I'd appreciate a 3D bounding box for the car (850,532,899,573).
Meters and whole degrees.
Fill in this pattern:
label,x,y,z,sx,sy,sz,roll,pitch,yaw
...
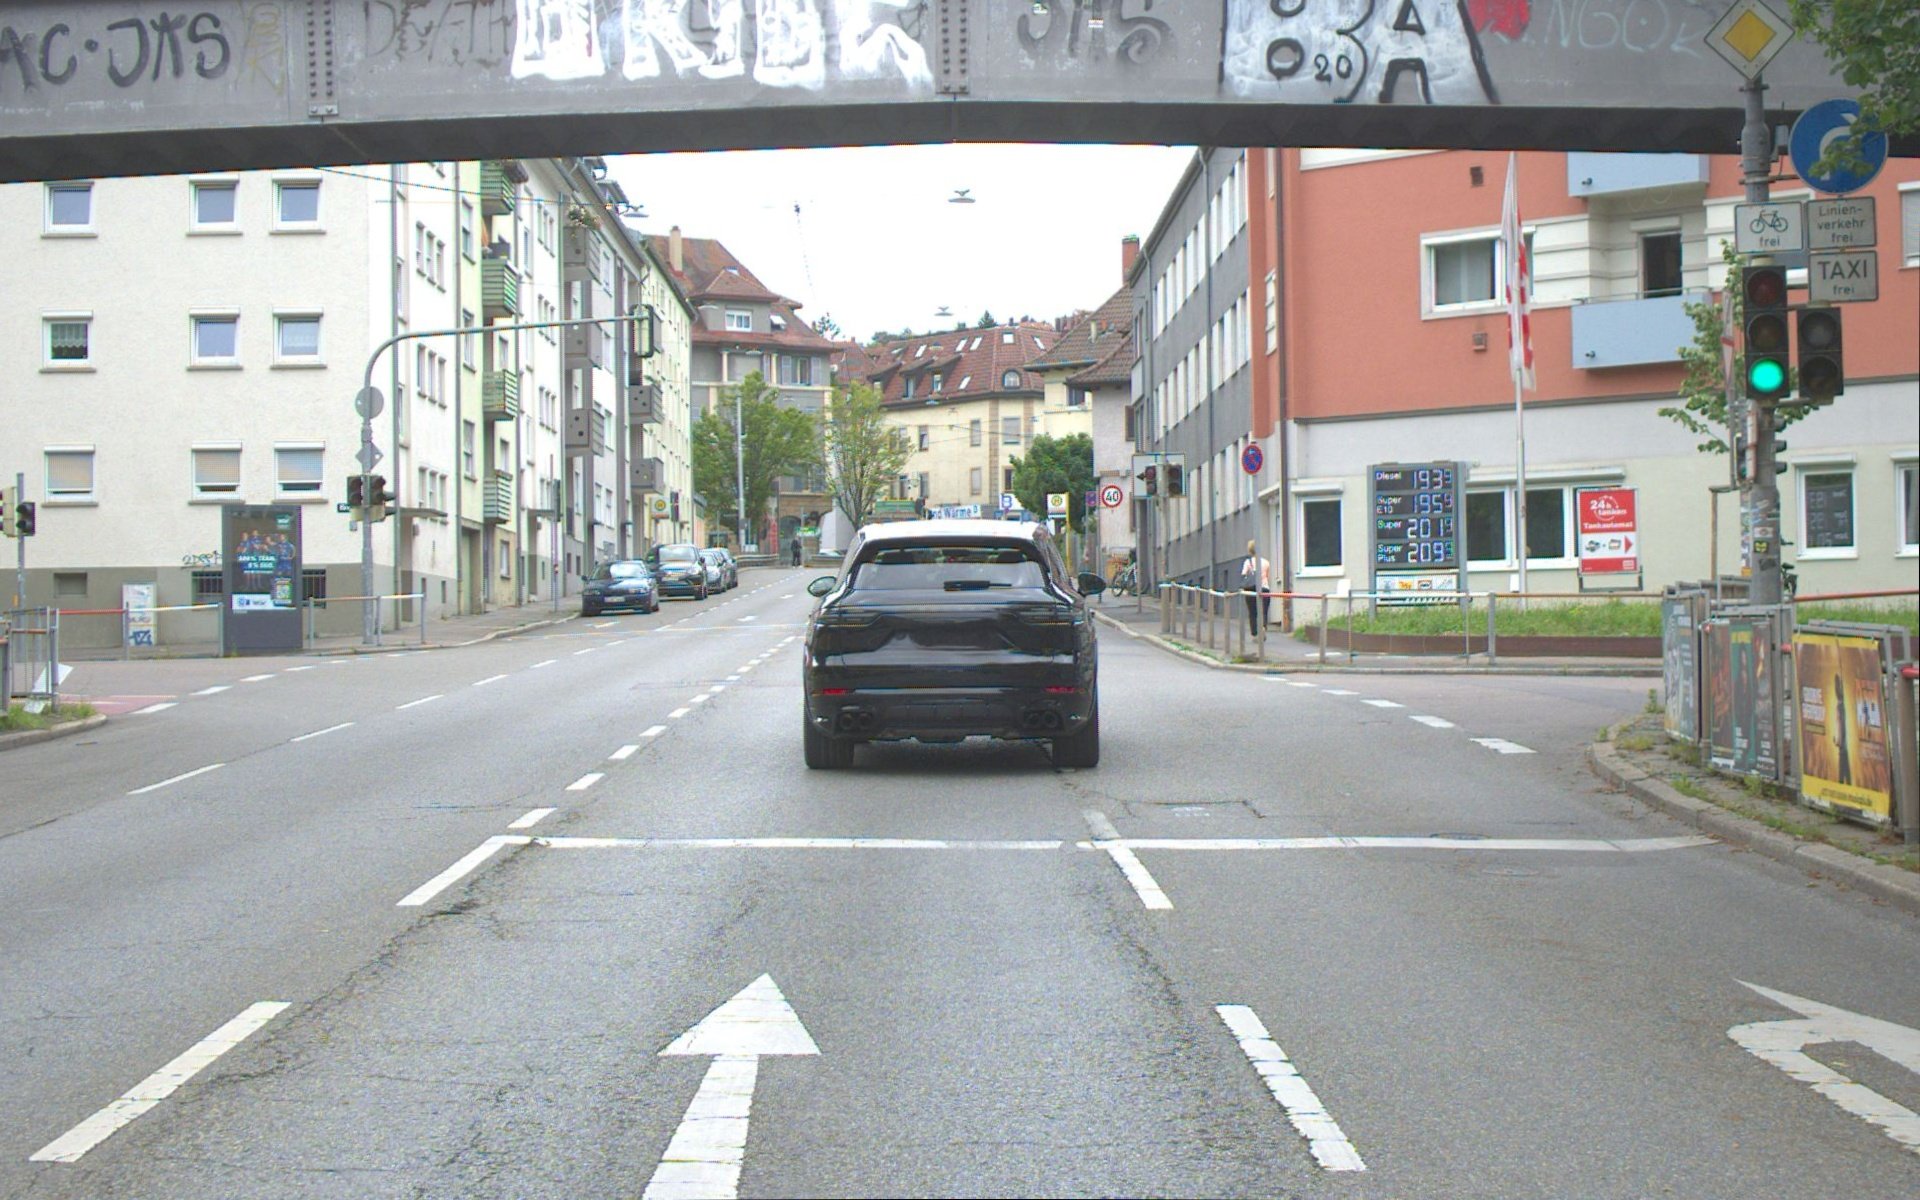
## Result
label,x,y,z,sx,sy,sz,roll,pitch,yaw
car,-3.280,-1.832,132.544,1.765,1.503,4.000,-1,1,0

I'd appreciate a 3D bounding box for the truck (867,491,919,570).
label,x,y,z,sx,sy,sz,roll,pitch,yaw
truck,-3.023,-3.115,155.189,2.266,3.412,9.879,-1,1,-1

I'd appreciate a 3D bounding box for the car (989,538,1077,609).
label,x,y,z,sx,sy,sz,roll,pitch,yaw
car,1.509,-0.578,72.191,1.741,1.395,4.000,0,2,-1

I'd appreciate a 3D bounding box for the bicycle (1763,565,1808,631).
label,x,y,z,sx,sy,sz,roll,pitch,yaw
bicycle,11.473,-0.038,47.748,0.341,0.900,1.741,0,1,23

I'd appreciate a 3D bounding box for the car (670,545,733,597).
label,x,y,z,sx,sy,sz,roll,pitch,yaw
car,-8.497,-0.977,113.336,1.765,1.644,4.000,-1,1,0

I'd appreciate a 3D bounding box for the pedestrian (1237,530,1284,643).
label,x,y,z,sx,sy,sz,roll,pitch,yaw
pedestrian,4.777,-0.217,54.732,0.652,1.786,0.715,0,1,-3

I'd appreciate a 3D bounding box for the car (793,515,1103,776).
label,x,y,z,sx,sy,sz,roll,pitch,yaw
car,-0.094,0.242,24.121,1.993,1.656,4.000,0,2,0

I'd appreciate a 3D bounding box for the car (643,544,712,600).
label,x,y,z,sx,sy,sz,roll,pitch,yaw
car,-8.539,-0.857,104.243,1.765,1.644,4.000,-1,1,0

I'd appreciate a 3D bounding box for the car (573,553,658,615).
label,x,y,z,sx,sy,sz,roll,pitch,yaw
car,-8.770,-0.429,87.783,1.765,1.503,4.000,-1,1,0
